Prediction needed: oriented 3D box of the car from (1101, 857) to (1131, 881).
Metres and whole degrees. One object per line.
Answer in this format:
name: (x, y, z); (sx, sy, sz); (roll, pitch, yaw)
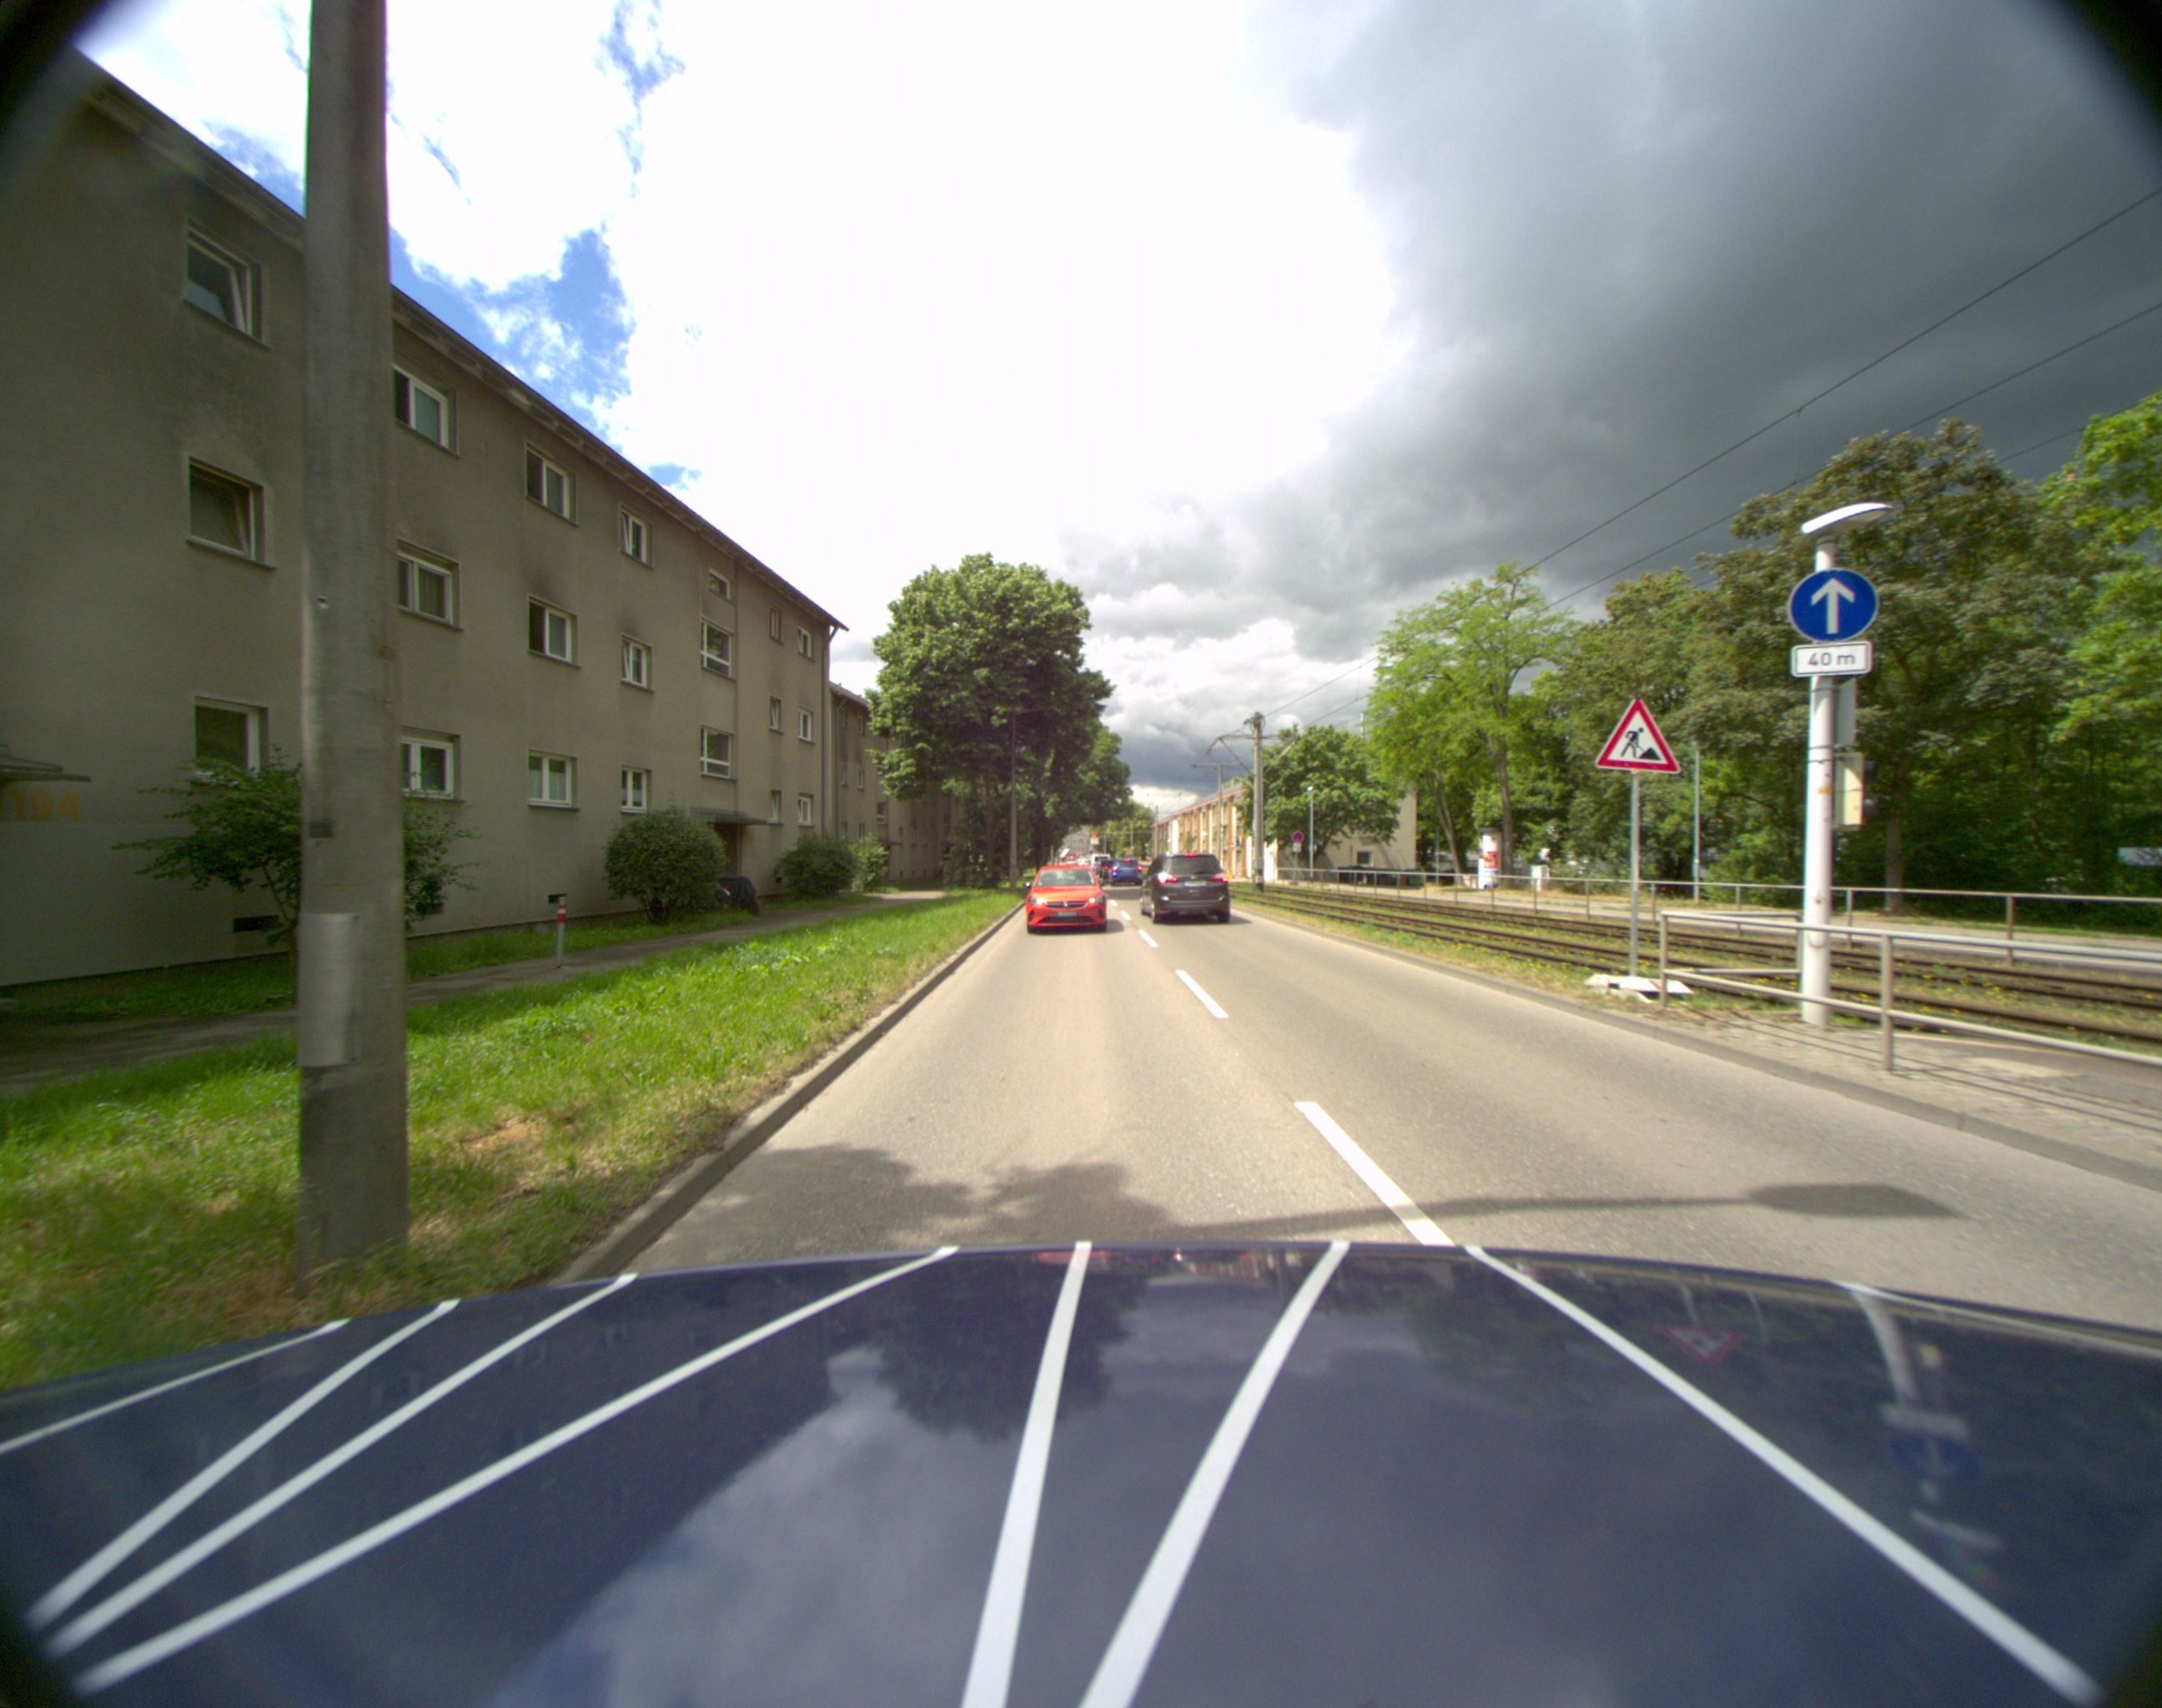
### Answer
car: (2.415, 1.042, 53.167); (1.721, 1.535, 4.000); (-2, -1, -1)

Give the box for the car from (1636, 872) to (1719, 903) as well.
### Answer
car: (40.606, 2.251, 51.780); (3.997, 1.848, 2.000); (2, 1, 1)

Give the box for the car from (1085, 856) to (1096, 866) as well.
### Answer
car: (1.553, 1.151, 120.960); (1.666, 1.512, 3.786); (-2, 0, -1)

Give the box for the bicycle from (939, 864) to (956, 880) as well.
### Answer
bicycle: (-9.295, 1.274, 52.825); (0.437, 1.074, 1.749); (-3, 1, -36)

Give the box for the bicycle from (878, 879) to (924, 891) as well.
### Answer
bicycle: (-9.268, 1.598, 39.124); (2.208, 0.505, 0.673); (-2, 1, 10)

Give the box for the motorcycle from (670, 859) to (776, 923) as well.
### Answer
motorcycle: (-8.330, 0.838, 17.714); (2.000, 1.421, 1.018); (0, 0, 10)

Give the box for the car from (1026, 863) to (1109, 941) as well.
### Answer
car: (-0.295, 1.002, 17.390); (1.666, 1.512, 3.785); (-1, 0, -1)

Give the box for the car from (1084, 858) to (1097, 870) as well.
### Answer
car: (1.317, 1.331, 103.815); (1.666, 1.512, 3.678); (-2, 0, -1)

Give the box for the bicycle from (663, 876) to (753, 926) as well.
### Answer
bicycle: (-8.229, 1.030, 16.796); (1.801, 1.078, 0.455); (0, 0, 5)

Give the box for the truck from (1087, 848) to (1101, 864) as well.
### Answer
truck: (2.361, 0.316, 135.762); (2.096, 2.723, 5.095); (-2, 1, -3)

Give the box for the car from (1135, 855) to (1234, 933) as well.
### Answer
car: (2.443, 0.883, 18.983); (1.712, 1.666, 4.227); (-2, 0, -2)

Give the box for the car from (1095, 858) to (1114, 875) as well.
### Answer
car: (2.227, 1.168, 72.385); (1.585, 1.477, 3.806); (-2, 0, -1)

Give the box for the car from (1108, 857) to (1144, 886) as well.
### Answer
car: (2.532, 0.970, 43.594); (1.717, 1.557, 4.166); (-2, 0, -1)

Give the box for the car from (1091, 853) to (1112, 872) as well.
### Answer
car: (2.182, 0.899, 82.140); (1.999, 1.984, 4.785); (-1, 0, -2)
